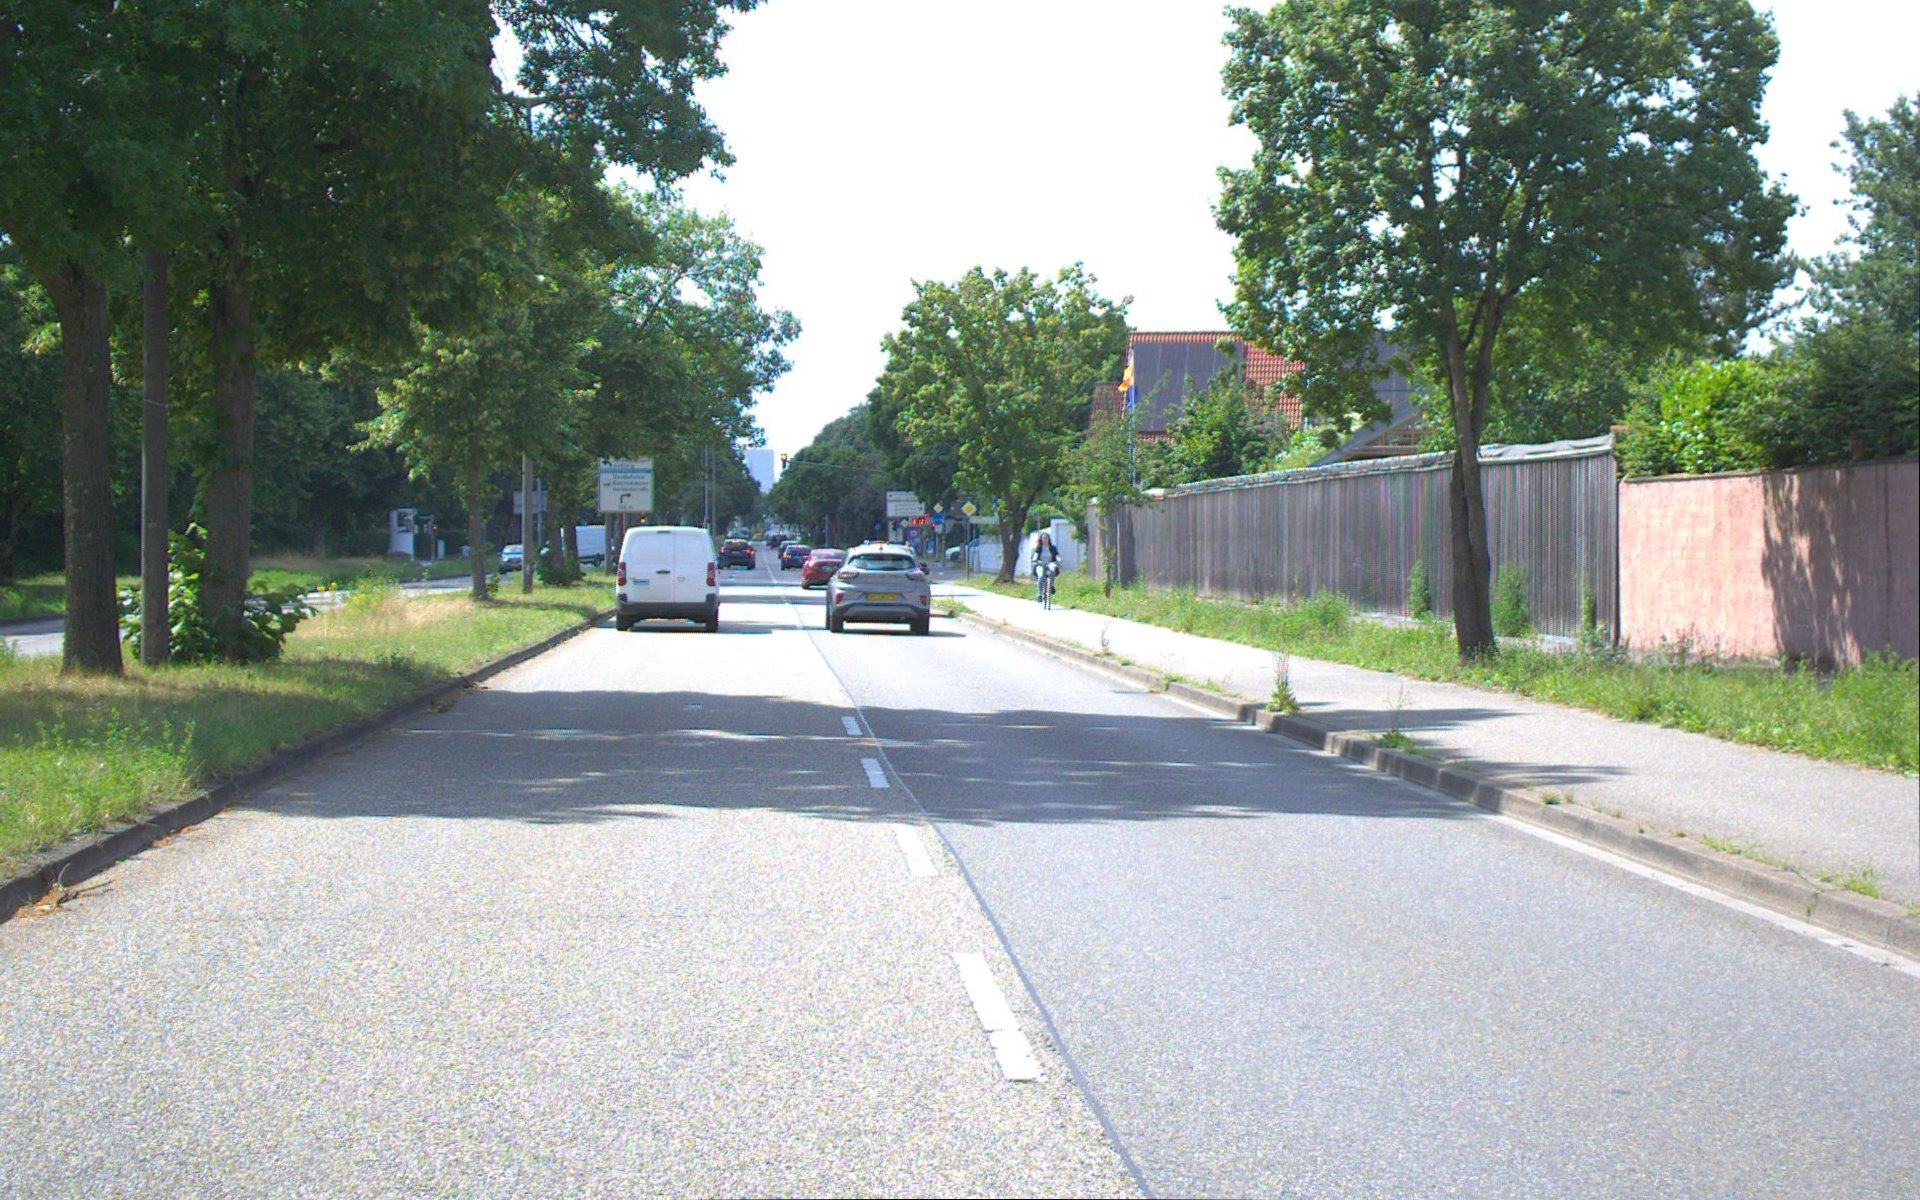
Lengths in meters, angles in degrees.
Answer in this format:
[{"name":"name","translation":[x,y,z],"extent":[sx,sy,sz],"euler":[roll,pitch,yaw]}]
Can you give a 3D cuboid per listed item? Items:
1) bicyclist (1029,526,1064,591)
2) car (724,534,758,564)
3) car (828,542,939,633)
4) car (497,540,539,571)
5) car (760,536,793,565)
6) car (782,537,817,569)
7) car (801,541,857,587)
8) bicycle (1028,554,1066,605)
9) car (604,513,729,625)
[{"name":"bicyclist","translation":[1.910,-0.915,76.023],"extent":[0.654,1.407,0.986],"euler":[-2,1,-2]},{"name":"car","translation":[-12.983,-3.016,203.707],"extent":[1.941,1.761,4.147],"euler":[0,1,-3]},{"name":"car","translation":[-1.406,-0.249,61.936],"extent":[1.875,1.583,4.185],"euler":[0,1,-3]},{"name":"car","translation":[-24.589,-2.503,191.292],"extent":[1.993,1.700,4.194],"euler":[0,1,-3]},{"name":"car","translation":[-11.396,-3.077,213.323],"extent":[1.993,1.766,4.001],"euler":[2,1,-3]},{"name":"car","translation":[-9.531,-2.795,203.572],"extent":[1.993,1.766,4.148],"euler":[2,1,-3]},{"name":"car","translation":[-4.649,-1.280,121.532],"extent":[1.880,1.581,4.001],"euler":[0,1,-3]},{"name":"bicycle","translation":[1.924,-0.461,76.033],"extent":[0.646,1.064,2.278],"euler":[-2,1,-2]},{"name":"car","translation":[-5.196,-0.583,61.340],"extent":[2.065,1.905,4.647],"euler":[0,1,-3]}]
